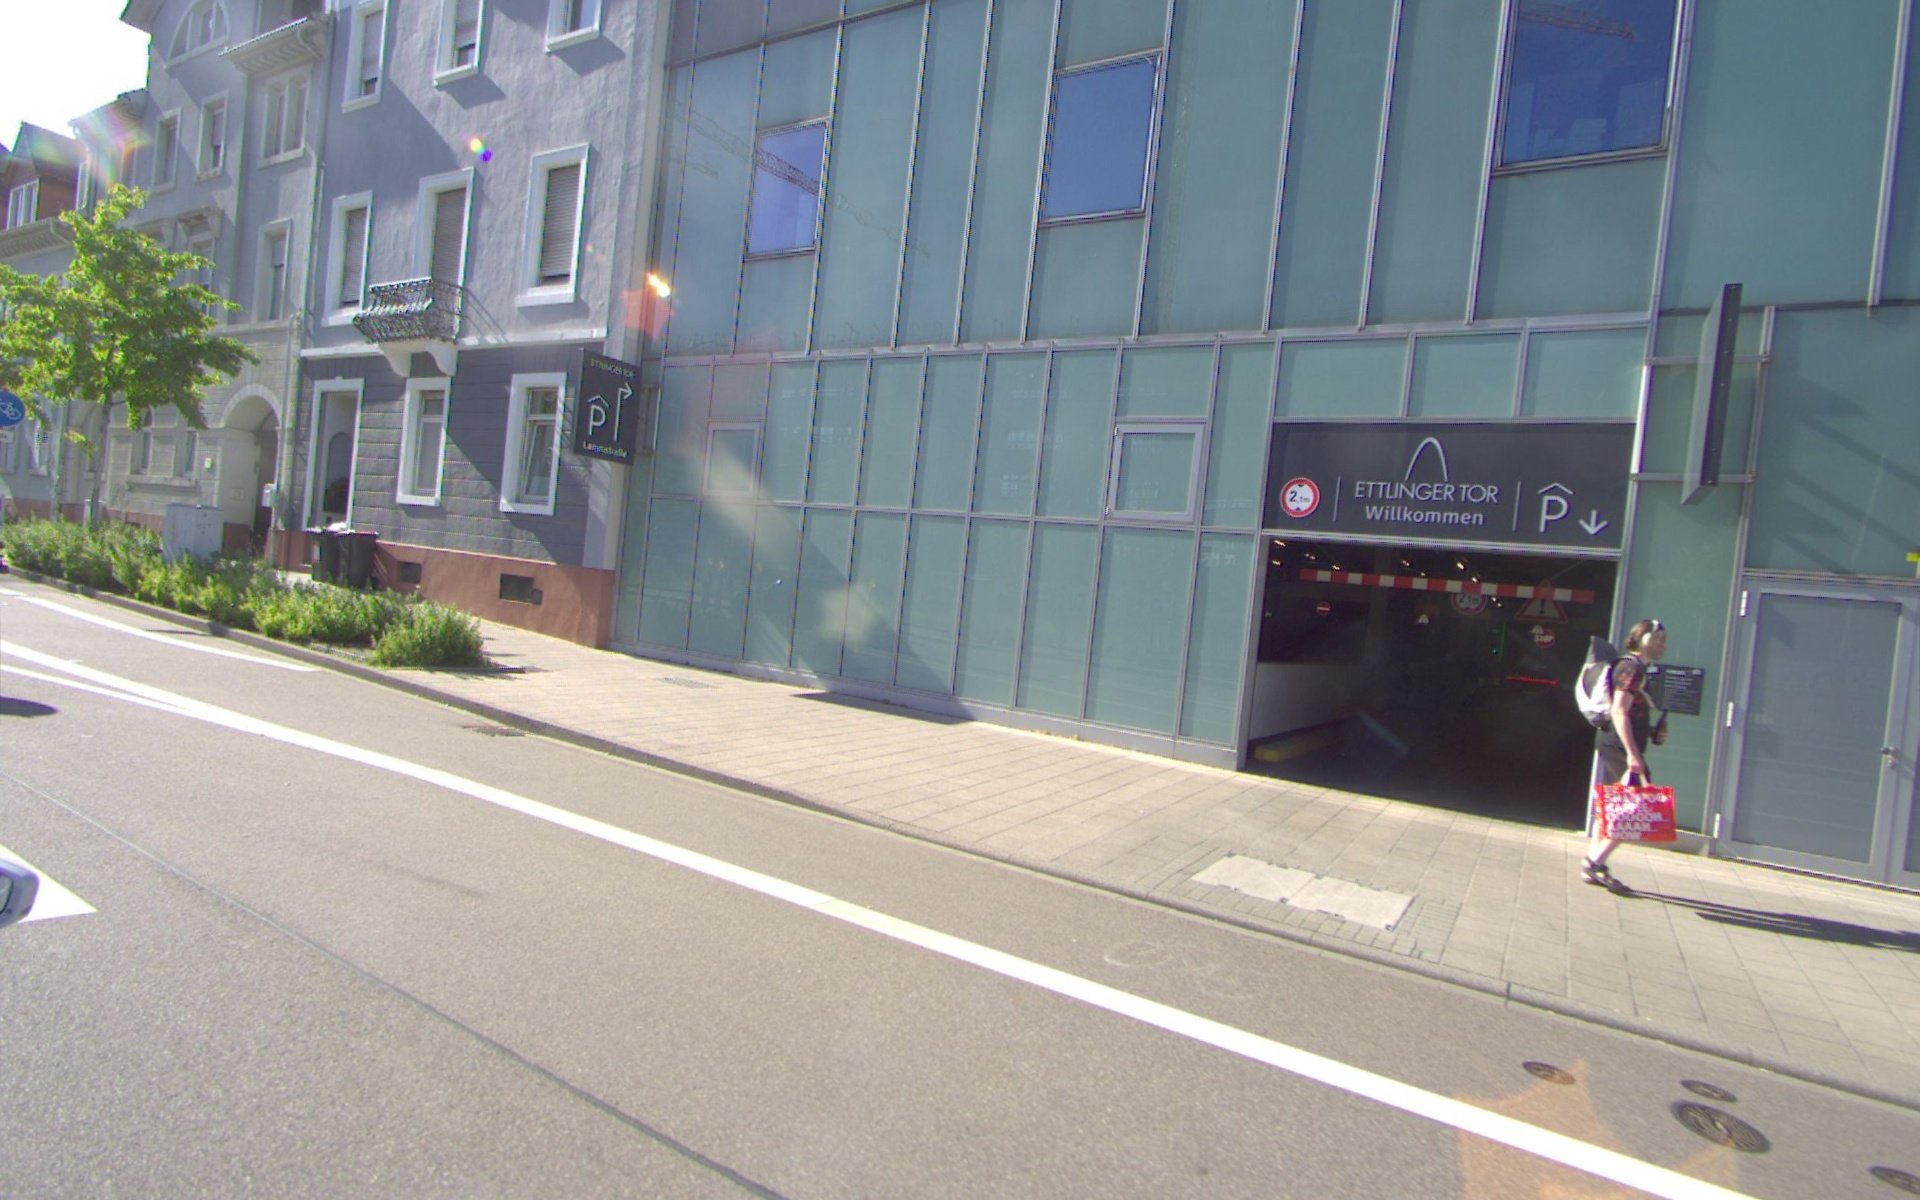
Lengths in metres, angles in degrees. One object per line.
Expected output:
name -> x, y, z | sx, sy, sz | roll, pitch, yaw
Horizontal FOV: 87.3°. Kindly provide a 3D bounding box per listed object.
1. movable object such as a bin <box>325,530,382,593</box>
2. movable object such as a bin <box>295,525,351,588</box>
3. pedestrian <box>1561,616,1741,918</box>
movable object such as a bin -> -11.548, -0.732, 19.149 | 0.692, 1.096, 0.603 | 7, 1, 33
movable object such as a bin -> -12.305, -0.840, 19.440 | 0.692, 1.122, 0.588 | 7, 1, 33
pedestrian -> 4.908, 1.116, 7.228 | 0.881, 1.950, 0.875 | 4, 2, 31
